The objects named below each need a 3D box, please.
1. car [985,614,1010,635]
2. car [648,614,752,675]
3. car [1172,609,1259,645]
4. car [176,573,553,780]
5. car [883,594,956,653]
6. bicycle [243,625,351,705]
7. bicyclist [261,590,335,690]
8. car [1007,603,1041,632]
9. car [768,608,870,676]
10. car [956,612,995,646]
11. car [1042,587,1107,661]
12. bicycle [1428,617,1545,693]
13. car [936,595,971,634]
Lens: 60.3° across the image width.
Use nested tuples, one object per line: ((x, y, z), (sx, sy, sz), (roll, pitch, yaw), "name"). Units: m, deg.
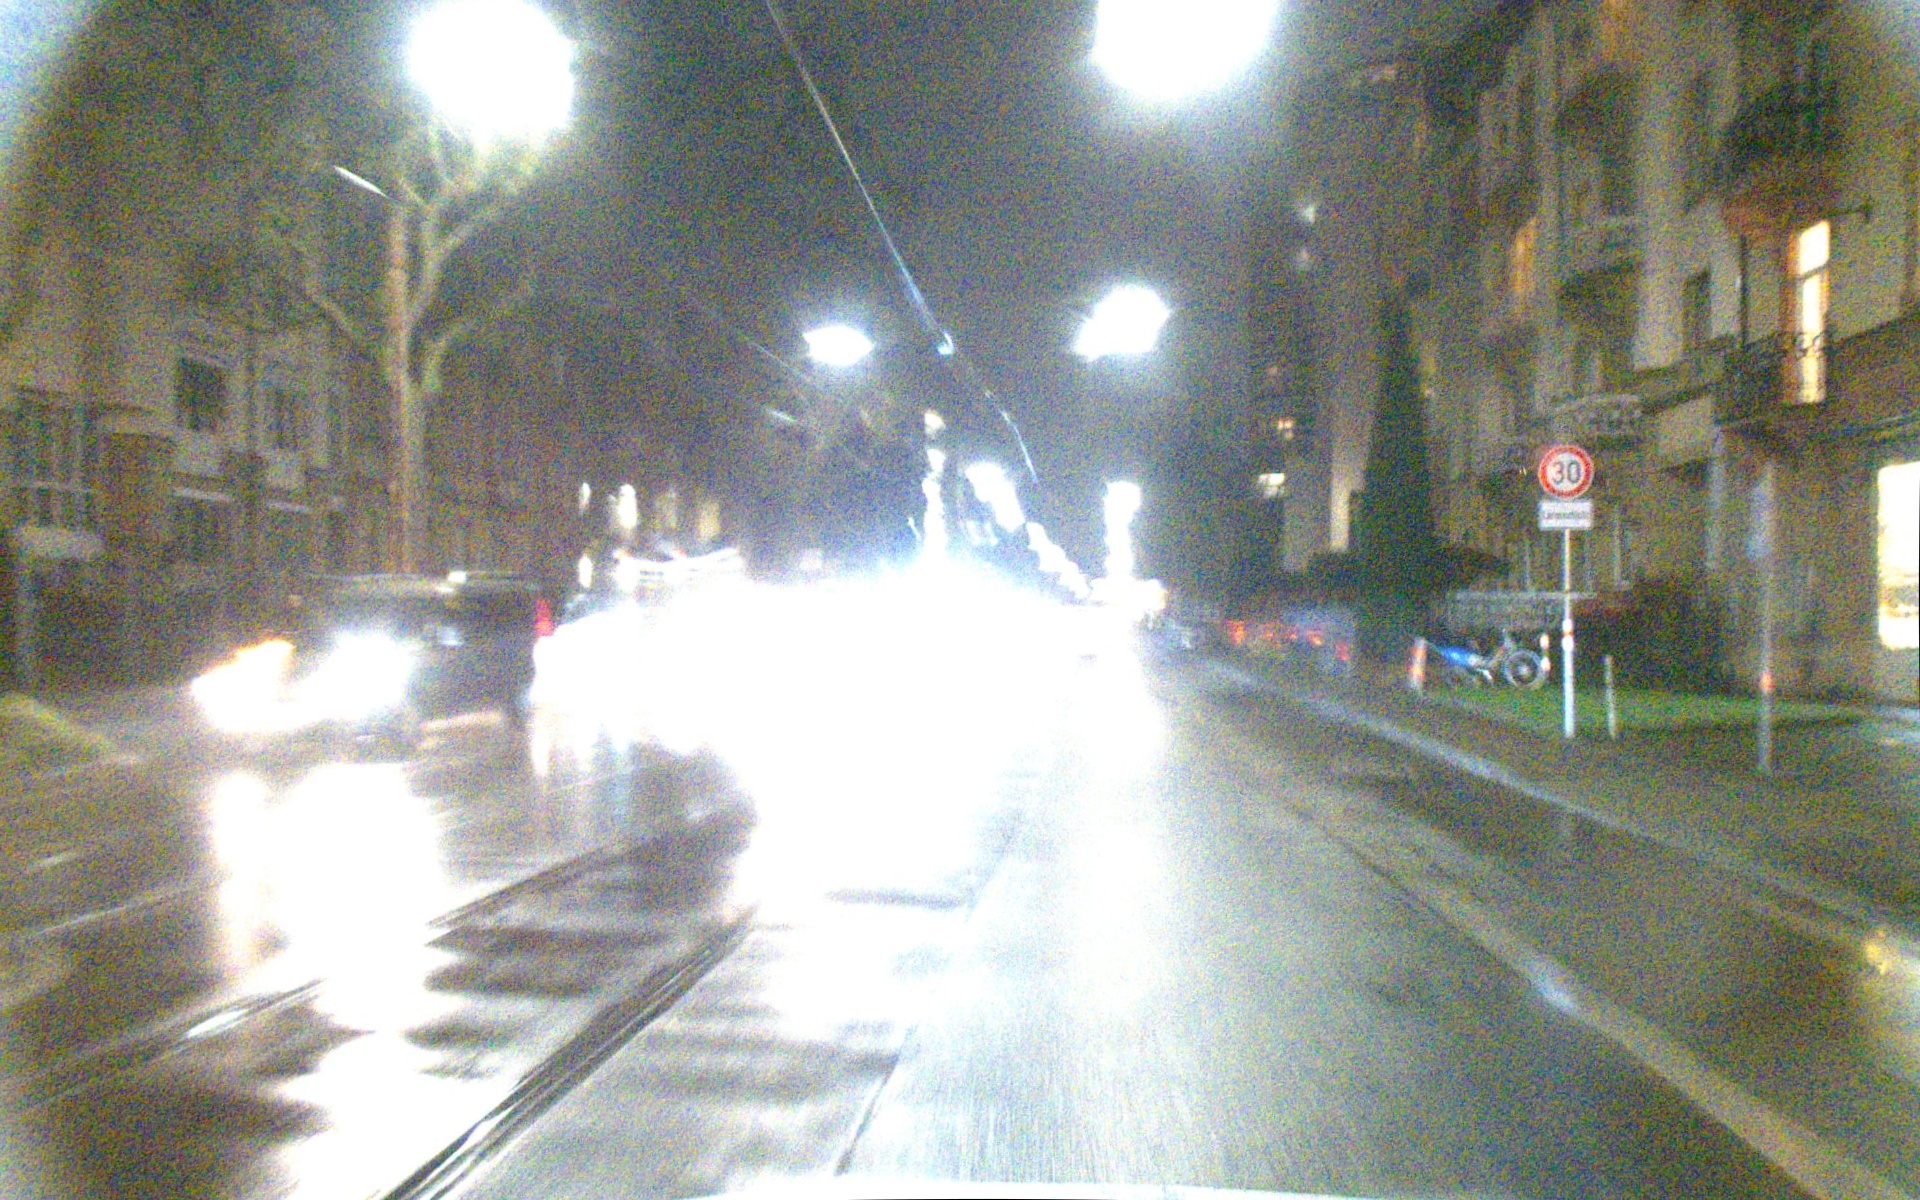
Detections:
((3.518, 2.268, 154.313), (1.958, 1.816, 4.002), (2, -1, 5), "car")
((-6.619, 1.110, 42.553), (1.729, 1.431, 4.143), (2, -1, 3), "car")
((11.505, 1.217, 74.306), (3.750, 1.483, 1.747), (2, -1, -37), "car")
((-6.114, 0.750, 17.657), (1.854, 1.902, 4.539), (-1, -1, 8), "car")
((-1.350, 0.769, 57.162), (1.885, 1.912, 4.640), (-2, 0, 6), "car")
((-10.207, 0.988, 25.540), (0.640, 1.161, 1.899), (2, -1, 8), "bicycle")
((-10.198, 0.618, 25.515), (0.640, 1.491, 0.869), (2, -1, 8), "bicyclist")
((4.211, 1.121, 108.379), (1.897, 1.847, 4.388), (-2, 0, 6), "car")
((-3.282, 0.958, 39.185), (1.754, 1.490, 3.904), (0, 0, 5), "car")
((0.743, 1.331, 77.856), (1.617, 1.505, 4.207), (-1, 0, 3), "car")
((4.077, 0.837, 59.179), (2.170, 2.484, 5.386), (1, -1, 3), "car")
((8.894, 0.925, 27.966), (1.776, 1.184, 0.493), (-3, -2, 3), "bicycle")
((-0.405, 0.959, 111.844), (1.983, 2.542, 5.609), (2, 0, 3), "car")
